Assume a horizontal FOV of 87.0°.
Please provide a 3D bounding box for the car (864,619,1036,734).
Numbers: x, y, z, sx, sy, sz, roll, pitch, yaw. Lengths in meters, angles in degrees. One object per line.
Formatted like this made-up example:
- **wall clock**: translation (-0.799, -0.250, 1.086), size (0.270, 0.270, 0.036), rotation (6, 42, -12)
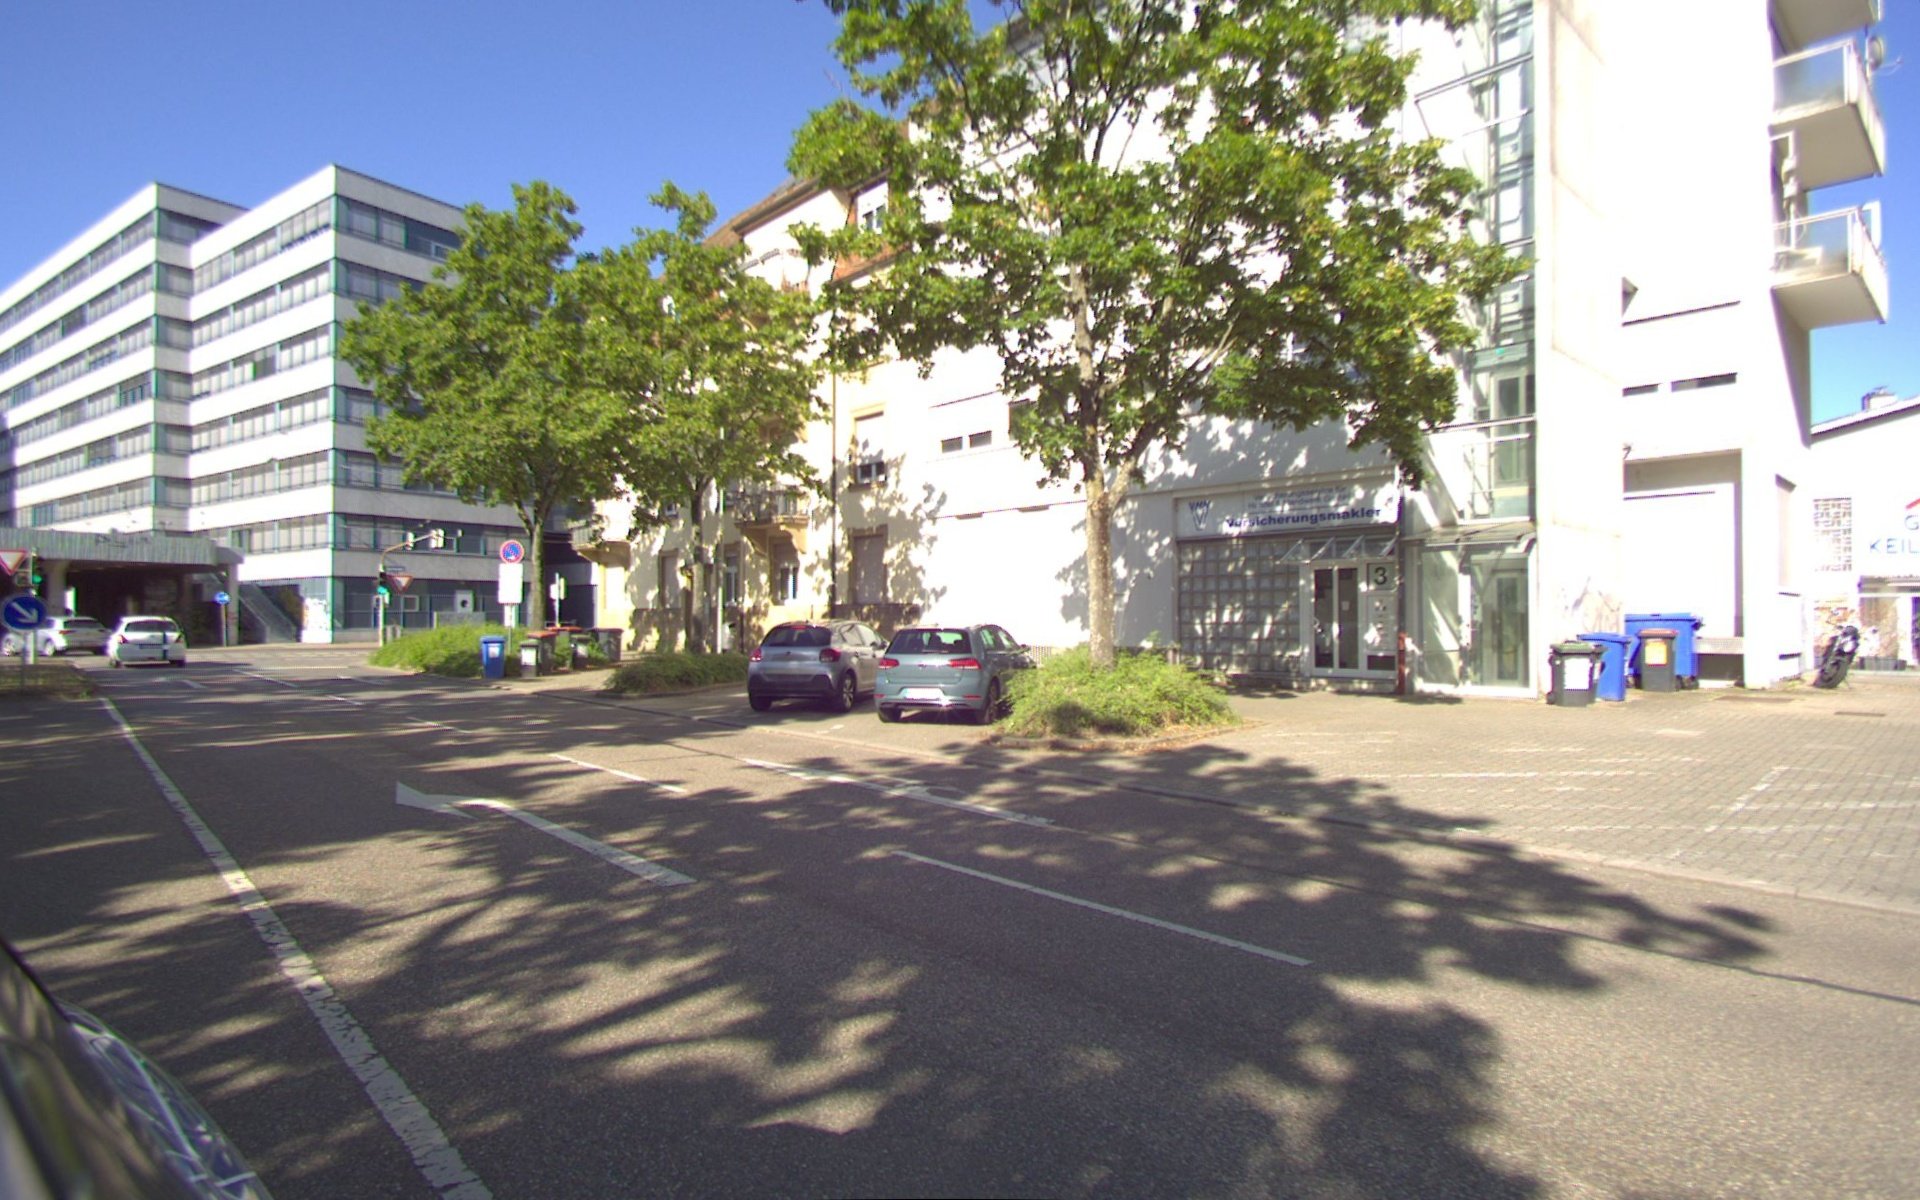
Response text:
- **car**: translation (-0.006, 1.074, 15.769), size (1.793, 1.475, 3.983), rotation (-1, 0, 13)

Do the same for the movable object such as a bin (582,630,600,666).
- **movable object such as a bin**: translation (-11.155, 1.459, 30.615), size (0.469, 1.070, 0.551), rotation (1, -2, -18)

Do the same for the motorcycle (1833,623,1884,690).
- **motorcycle**: translation (15.975, 0.986, 17.985), size (1.890, 1.143, 0.527), rotation (2, -2, -44)

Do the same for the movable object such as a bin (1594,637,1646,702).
- **movable object such as a bin**: translation (10.341, 1.072, 15.860), size (0.575, 0.980, 0.613), rotation (-1, -2, 43)

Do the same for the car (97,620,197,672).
- **car**: translation (-24.441, 1.336, 30.382), size (3.758, 1.462, 1.901), rotation (-1, -2, 45)

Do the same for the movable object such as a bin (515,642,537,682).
- **movable object such as a bin**: translation (-10.912, 1.555, 25.444), size (0.469, 0.967, 0.544), rotation (-1, 0, -18)

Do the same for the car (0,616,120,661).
- **car**: translation (-33.407, 1.399, 37.420), size (4.042, 1.565, 1.915), rotation (0, -2, 22)

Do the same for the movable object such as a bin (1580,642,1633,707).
- **movable object such as a bin**: translation (9.784, 1.115, 15.308), size (0.575, 0.935, 0.613), rotation (-1, -2, 43)

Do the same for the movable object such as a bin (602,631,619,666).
- **movable object such as a bin**: translation (-10.630, 1.468, 30.780), size (0.469, 1.070, 0.551), rotation (1, -2, -18)

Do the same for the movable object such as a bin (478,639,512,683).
- **movable object such as a bin**: translation (-11.555, 1.505, 25.145), size (0.665, 1.082, 0.805), rotation (1, -2, -18)

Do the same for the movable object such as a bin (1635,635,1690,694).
- **movable object such as a bin**: translation (12.010, 1.091, 17.308), size (0.690, 0.980, 0.613), rotation (-1, -2, 43)

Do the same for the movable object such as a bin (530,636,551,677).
- **movable object such as a bin**: translation (-10.941, 1.465, 26.391), size (0.469, 1.048, 0.544), rotation (-1, 0, -18)

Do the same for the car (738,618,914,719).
- **car**: translation (-2.202, 1.102, 17.759), size (1.793, 1.475, 3.983), rotation (-1, 0, 13)

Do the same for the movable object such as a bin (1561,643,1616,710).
- **movable object such as a bin**: translation (9.212, 1.107, 14.832), size (0.575, 0.935, 0.613), rotation (-1, -2, 43)

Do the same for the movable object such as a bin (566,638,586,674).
- **movable object such as a bin**: translation (-10.472, 1.532, 27.606), size (0.469, 0.951, 0.544), rotation (-1, -1, -18)

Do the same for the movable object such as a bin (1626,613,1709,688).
- **movable object such as a bin**: translation (12.482, 0.876, 17.871), size (1.121, 1.289, 0.613), rotation (-1, -2, 43)
